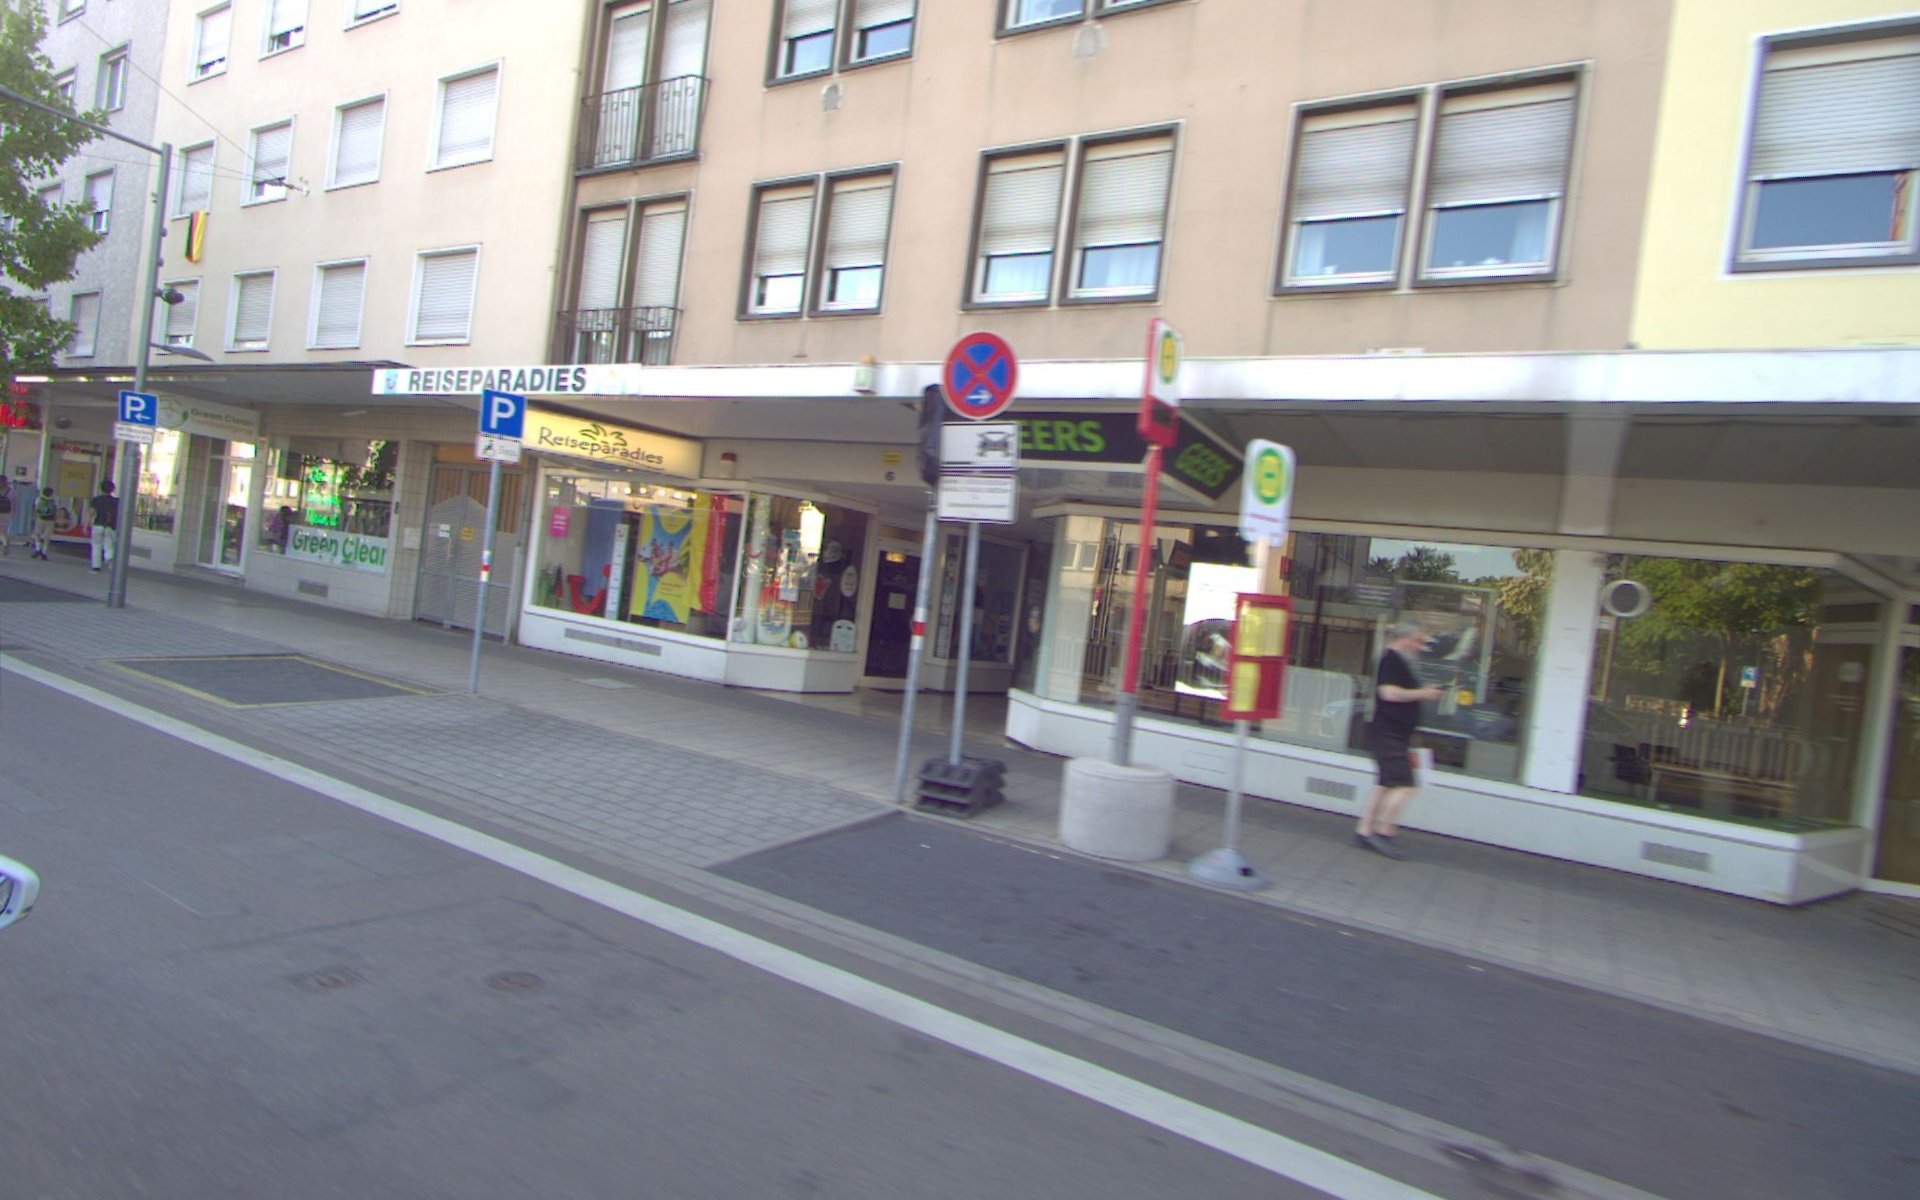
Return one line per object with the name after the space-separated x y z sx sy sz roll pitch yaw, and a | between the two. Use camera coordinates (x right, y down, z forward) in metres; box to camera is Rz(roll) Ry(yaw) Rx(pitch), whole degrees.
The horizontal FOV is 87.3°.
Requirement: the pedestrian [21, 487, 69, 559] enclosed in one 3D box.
-18.970 -1.596 20.863 0.601 1.412 0.475 7 0 31 | pedestrian

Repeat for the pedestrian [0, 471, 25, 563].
-19.567 -1.714 20.415 0.754 1.817 0.565 7 0 31 | pedestrian

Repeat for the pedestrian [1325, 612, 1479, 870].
3.184 0.973 7.225 0.754 1.652 0.724 7 0 31 | pedestrian

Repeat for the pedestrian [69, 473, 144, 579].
-15.821 -1.364 18.658 0.754 1.817 0.724 7 0 31 | pedestrian
